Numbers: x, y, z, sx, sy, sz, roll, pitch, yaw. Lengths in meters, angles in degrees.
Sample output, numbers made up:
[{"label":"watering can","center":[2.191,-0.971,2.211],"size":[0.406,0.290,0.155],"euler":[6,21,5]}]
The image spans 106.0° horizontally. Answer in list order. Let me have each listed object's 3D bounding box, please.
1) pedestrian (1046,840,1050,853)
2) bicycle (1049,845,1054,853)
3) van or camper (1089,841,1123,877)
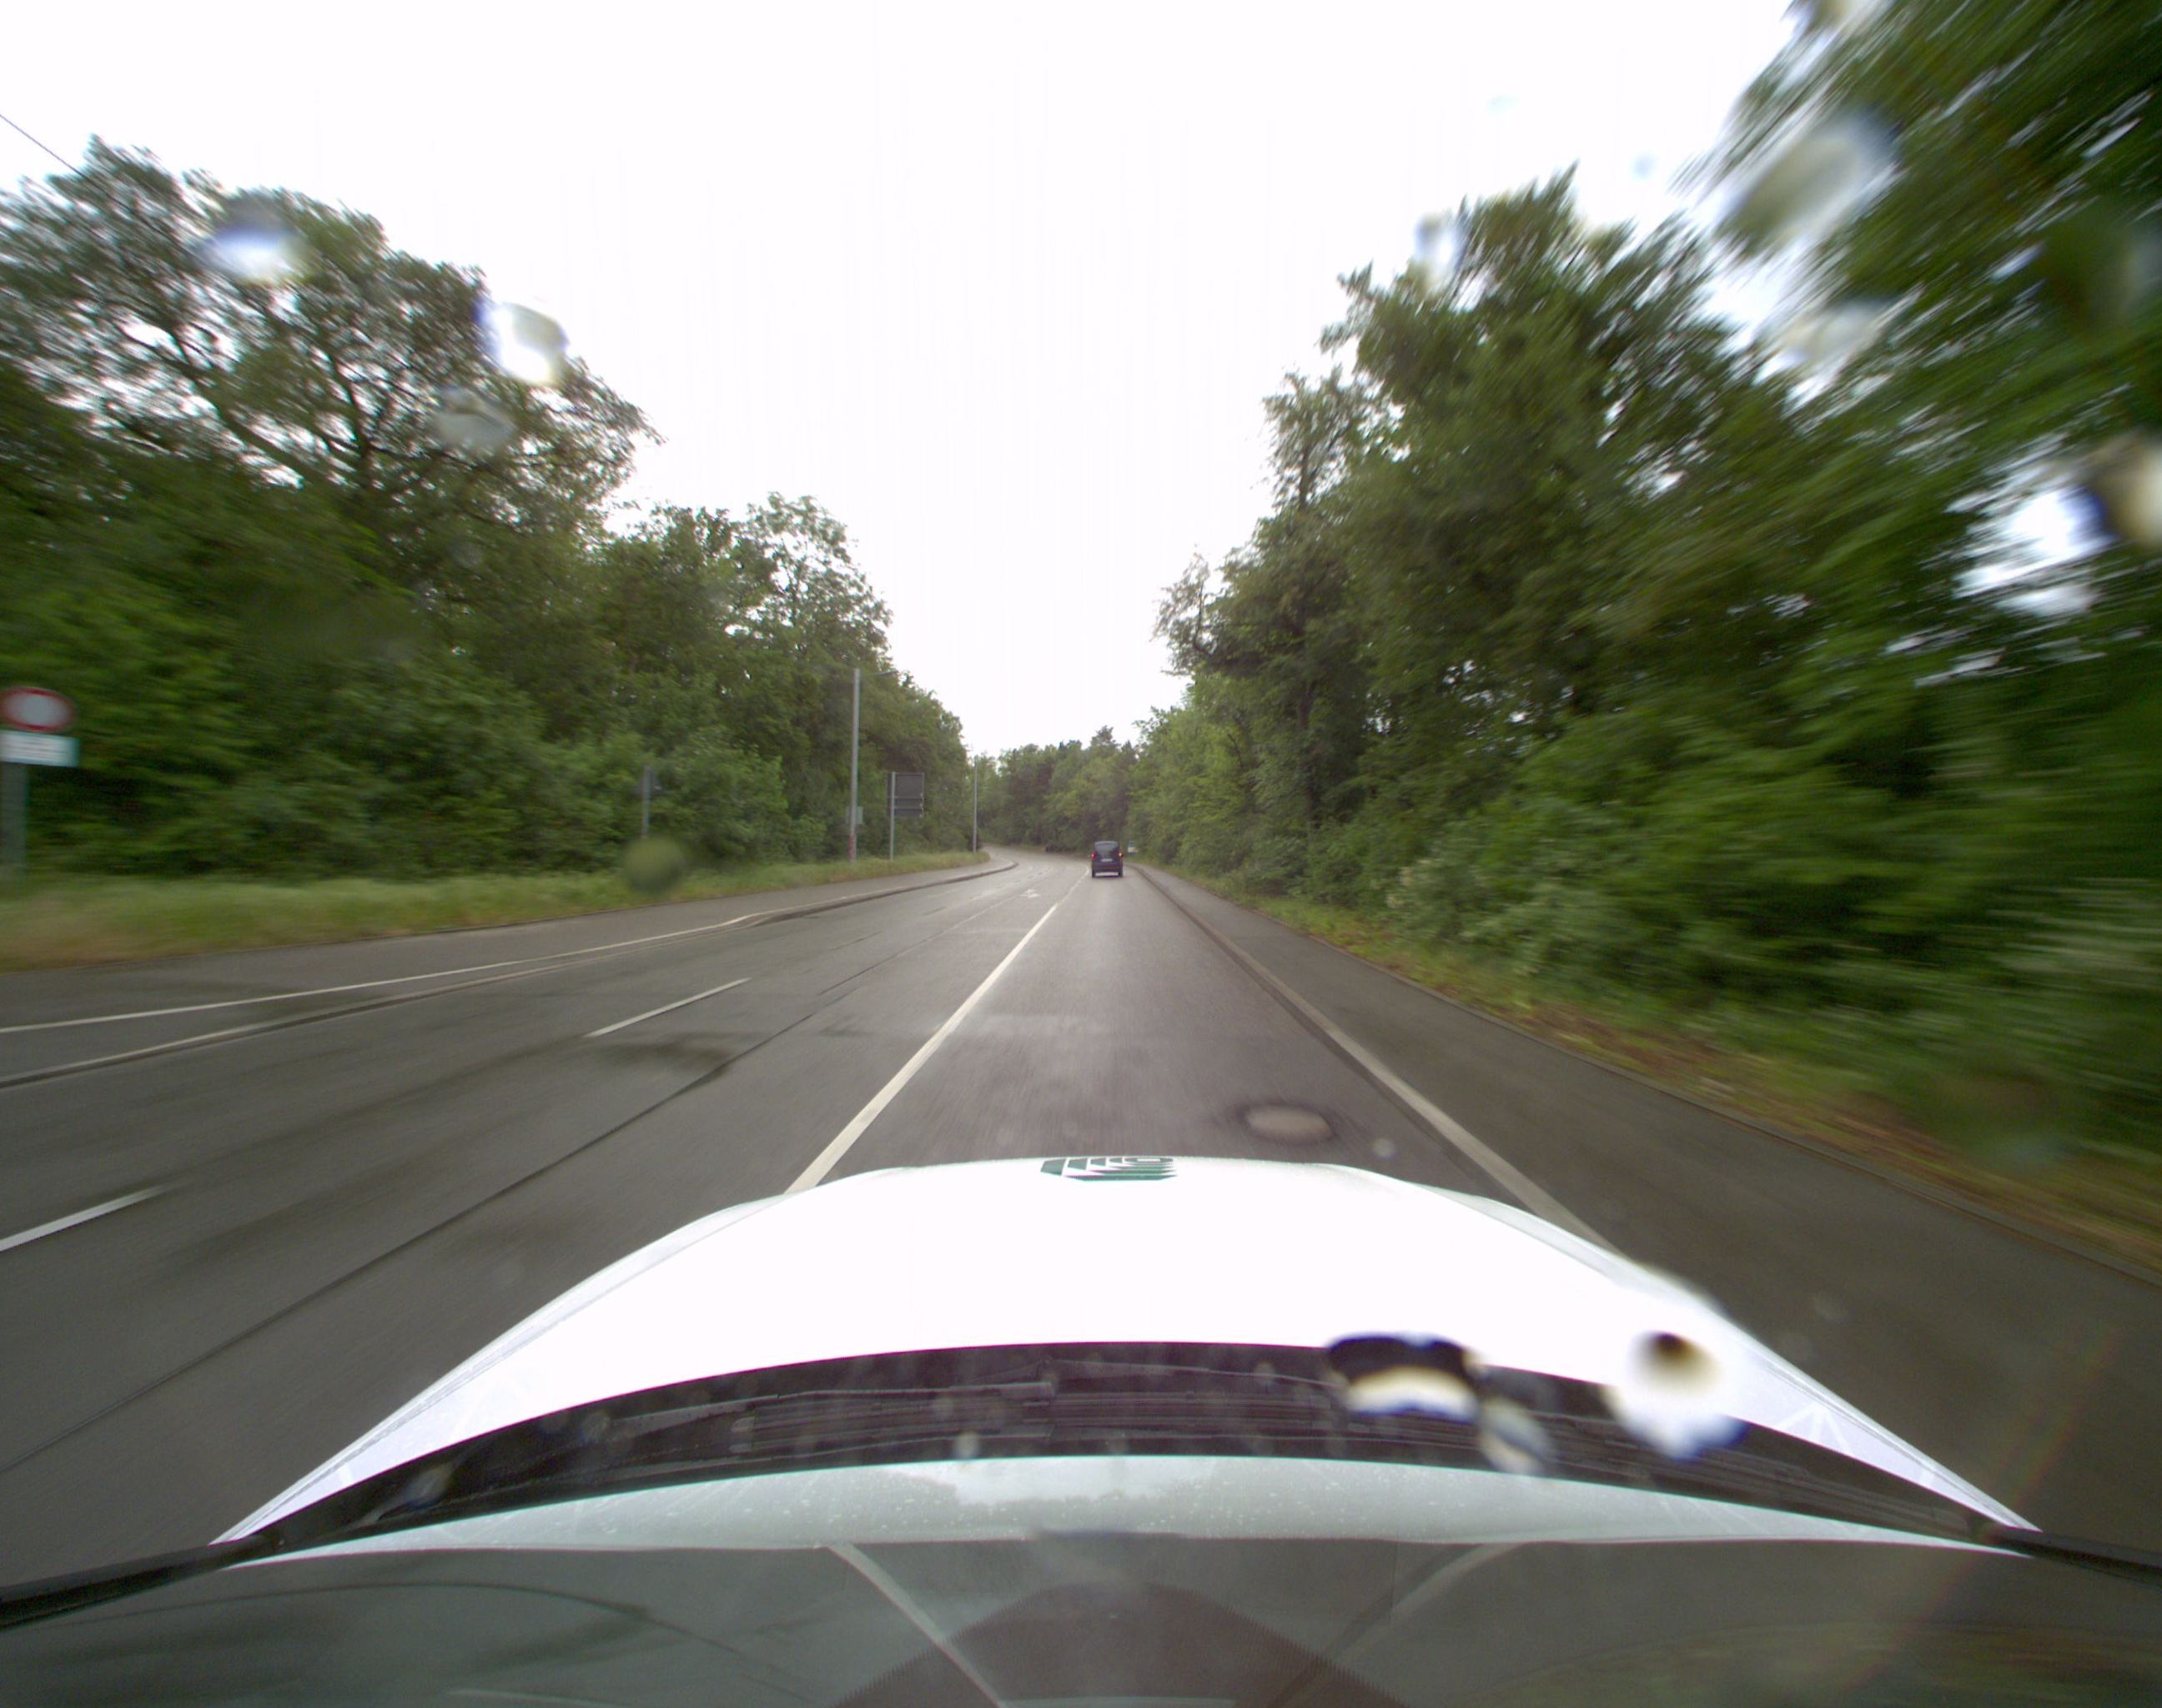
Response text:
[{"label":"pedestrian","center":[-5.098,-1.132,124.441],"size":[0.490,1.870,0.677],"euler":[0,0,-11]},{"label":"bicycle","center":[-4.505,-0.797,124.275],"size":[0.489,1.246,1.741],"euler":[0,0,-11]},{"label":"van or camper","center":[1.317,0.246,43.393],"size":[1.706,1.826,4.001],"euler":[0,-1,1]}]
